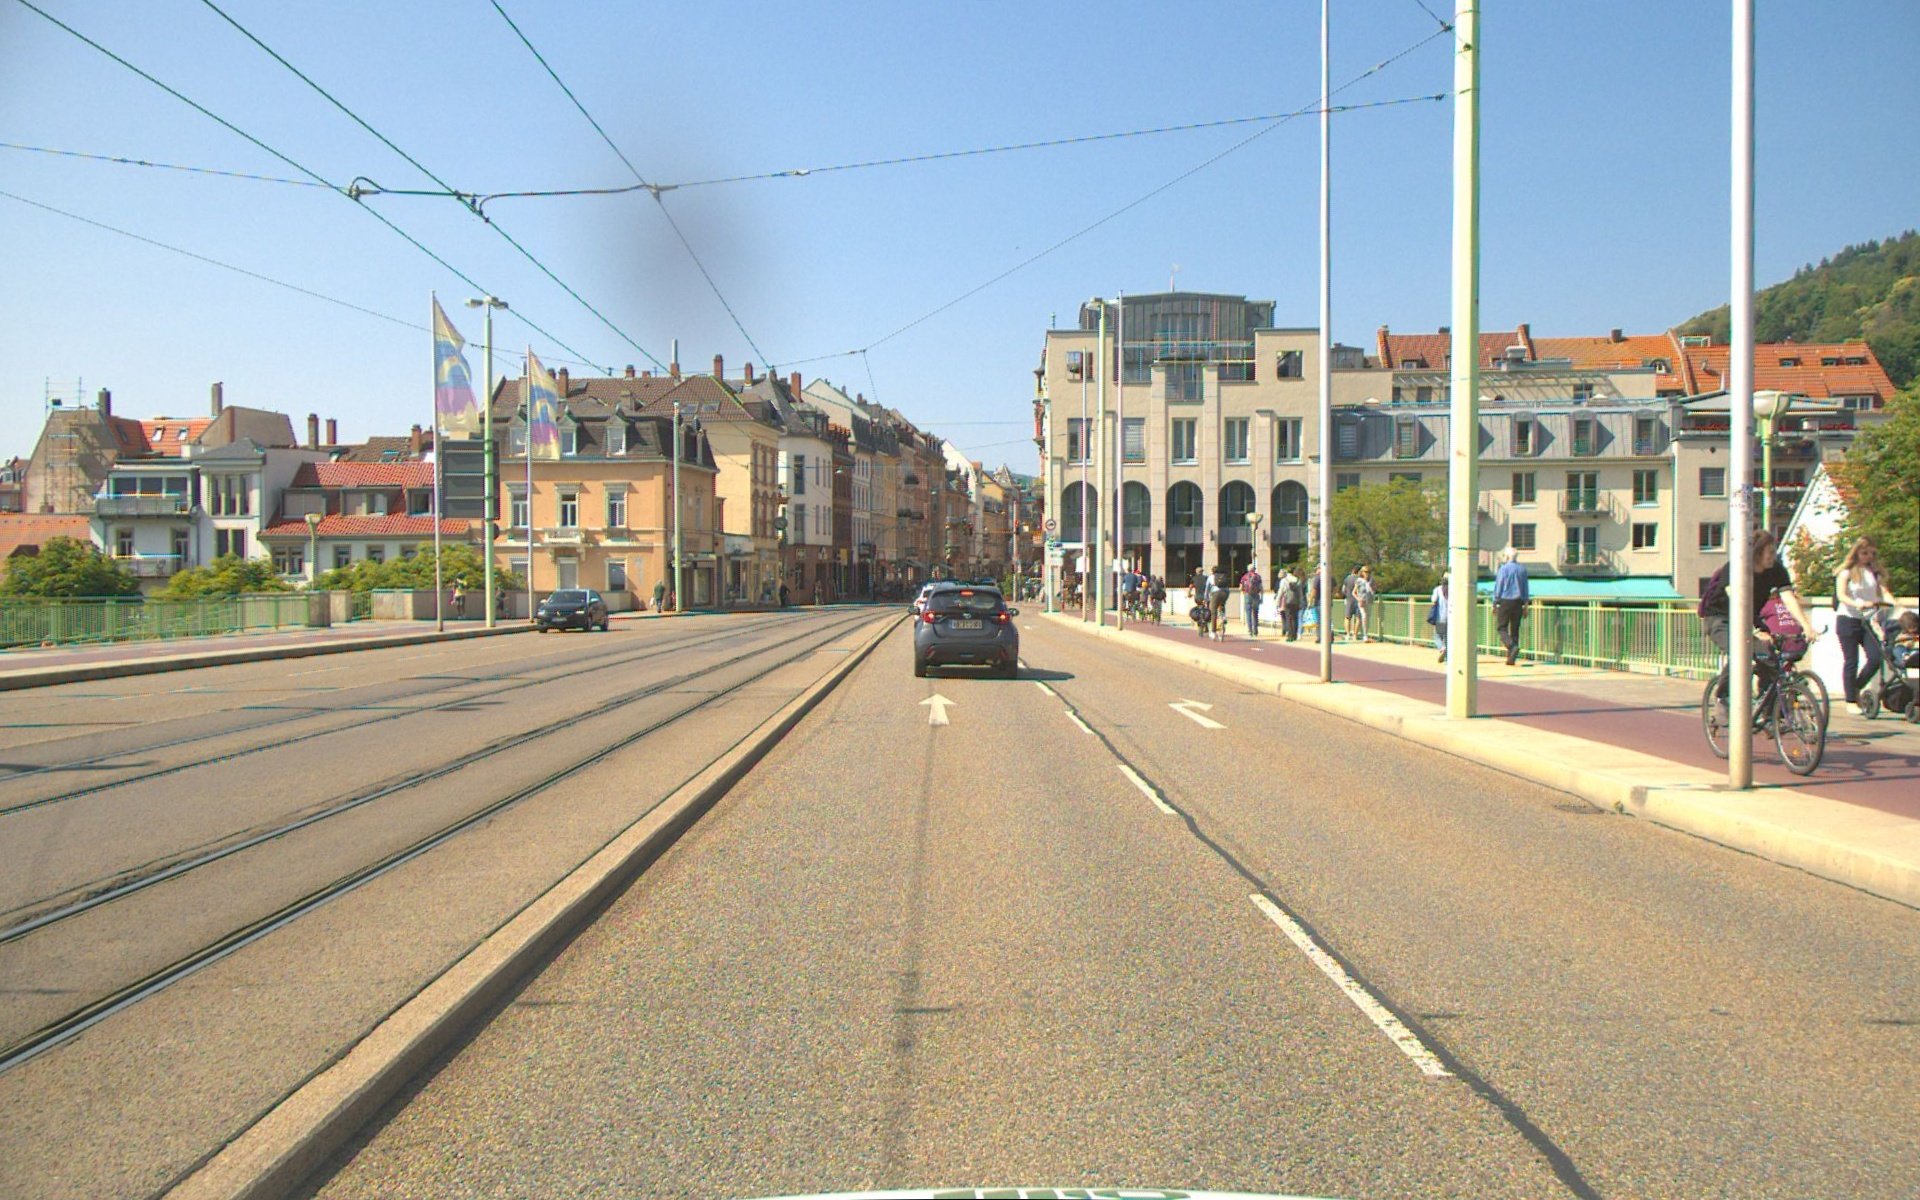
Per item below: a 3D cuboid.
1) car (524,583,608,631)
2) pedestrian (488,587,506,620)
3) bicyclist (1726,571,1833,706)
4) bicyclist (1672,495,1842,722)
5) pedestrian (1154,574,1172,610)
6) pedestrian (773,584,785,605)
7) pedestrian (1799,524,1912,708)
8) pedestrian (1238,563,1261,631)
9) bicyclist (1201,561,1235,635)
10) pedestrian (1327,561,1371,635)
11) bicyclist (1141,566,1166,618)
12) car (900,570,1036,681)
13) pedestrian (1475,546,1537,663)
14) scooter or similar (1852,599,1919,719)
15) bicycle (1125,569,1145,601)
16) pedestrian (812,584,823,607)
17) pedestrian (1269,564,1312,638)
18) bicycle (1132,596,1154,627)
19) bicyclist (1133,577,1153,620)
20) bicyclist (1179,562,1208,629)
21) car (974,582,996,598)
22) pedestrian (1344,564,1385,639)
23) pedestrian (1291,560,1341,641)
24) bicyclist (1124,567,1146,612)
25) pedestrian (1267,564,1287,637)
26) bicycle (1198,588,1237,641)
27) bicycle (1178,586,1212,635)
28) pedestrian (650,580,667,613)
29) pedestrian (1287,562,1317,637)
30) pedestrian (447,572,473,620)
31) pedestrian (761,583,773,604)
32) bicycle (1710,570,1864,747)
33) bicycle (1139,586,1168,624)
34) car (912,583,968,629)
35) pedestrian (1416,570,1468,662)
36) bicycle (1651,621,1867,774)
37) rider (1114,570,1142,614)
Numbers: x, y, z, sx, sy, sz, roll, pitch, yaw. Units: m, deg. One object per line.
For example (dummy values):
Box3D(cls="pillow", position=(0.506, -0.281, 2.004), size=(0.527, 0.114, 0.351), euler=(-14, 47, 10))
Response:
Box3D(cls="car", position=(-13.243, 0.207, 55.765), size=(1.953, 1.505, 3.999), euler=(0, 1, -1))
Box3D(cls="pedestrian", position=(-18.901, 0.152, 67.502), size=(0.561, 1.327, 0.543), euler=(0, 1, 1))
Box3D(cls="bicyclist", position=(7.002, 0.311, 14.157), size=(0.586, 1.120, 0.853), euler=(0, 1, 9))
Box3D(cls="bicyclist", position=(5.960, 0.058, 12.442), size=(0.639, 1.594, 1.338), euler=(-2, 0, 2))
Box3D(cls="pedestrian", position=(8.459, -0.350, 68.984), size=(0.643, 1.476, 0.644), euler=(0, 1, -6))
Box3D(cls="pedestrian", position=(-12.180, -0.354, 111.449), size=(0.747, 1.422, 0.663), euler=(0, 1, 1))
Box3D(cls="pedestrian", position=(8.941, 0.149, 16.543), size=(0.629, 1.787, 0.866), euler=(0, 1, -3))
Box3D(cls="pedestrian", position=(7.369, -0.067, 42.113), size=(0.417, 1.700, 0.620), euler=(3, 0, -1))
Box3D(cls="bicyclist", position=(6.097, -0.054, 39.048), size=(0.643, 1.705, 0.868), euler=(0, 1, -2))
Box3D(cls="pedestrian", position=(9.143, -0.060, 38.868), size=(0.817, 1.719, 0.869), euler=(0, 1, -1))
Box3D(cls="bicyclist", position=(6.381, -0.265, 54.629), size=(0.701, 1.705, 0.868), euler=(0, 1, -2))
Box3D(cls="car", position=(0.056, 0.374, 28.392), size=(1.873, 1.566, 3.997), euler=(5, 2, -5))
Box3D(cls="pedestrian", position=(8.740, 0.062, 26.493), size=(0.698, 1.842, 0.848), euler=(0, 1, -1))
Box3D(cls="scooter or similar", position=(8.993, 0.544, 15.680), size=(0.576, 1.088, 0.865), euler=(0, 1, -3))
Box3D(cls="bicycle", position=(6.713, -0.574, 63.557), size=(0.652, 1.198, 2.030), euler=(0, 1, 2))
Box3D(cls="pedestrian", position=(-10.751, -0.364, 124.837), size=(0.747, 1.728, 0.663), euler=(0, 1, 1))
Box3D(cls="pedestrian", position=(7.747, 0.016, 38.827), size=(0.817, 1.719, 0.869), euler=(0, 1, -1))
Box3D(cls="bicycle", position=(6.701, 0.405, 60.706), size=(0.652, 1.067, 2.030), euler=(0, 1, 2))
Box3D(cls="bicyclist", position=(6.705, -0.048, 60.658), size=(0.638, 1.556, 0.975), euler=(0, 1, 2))
Box3D(cls="bicyclist", position=(6.042, -0.129, 42.833), size=(0.615, 1.719, 0.868), euler=(0, 1, -2))
Box3D(cls="car", position=(2.367, -0.953, 155.058), size=(1.838, 1.433, 4.003), euler=(0, 1, 4))
Box3D(cls="pedestrian", position=(9.121, 0.025, 37.323), size=(0.698, 1.680, 0.848), euler=(0, 1, -1))
Box3D(cls="pedestrian", position=(7.935, 0.006, 36.939), size=(0.911, 1.792, 0.937), euler=(0, 1, -1))
Box3D(cls="bicyclist", position=(6.716, -0.401, 63.558), size=(0.779, 1.705, 0.869), euler=(0, 1, 2))
Box3D(cls="pedestrian", position=(8.099, 0.012, 42.267), size=(0.360, 1.826, 0.604), euler=(1, 0, -1))
Box3D(cls="bicycle", position=(6.097, 0.323, 39.233), size=(0.581, 1.198, 1.939), euler=(0, 1, -2))
Box3D(cls="bicycle", position=(6.044, 0.249, 42.587), size=(0.515, 1.198, 2.028), euler=(0, 1, -2))
Box3D(cls="pedestrian", position=(-15.646, -0.175, 85.828), size=(0.747, 1.694, 0.663), euler=(0, 1, 1))
Box3D(cls="pedestrian", position=(8.307, -0.017, 40.212), size=(0.517, 1.778, 0.728), euler=(1, 0, -1))
Box3D(cls="pedestrian", position=(-18.891, -0.163, 62.534), size=(0.747, 1.818, 0.663), euler=(0, 1, 1))
Box3D(cls="pedestrian", position=(-12.928, -0.422, 110.730), size=(0.747, 1.422, 0.663), euler=(0, 1, 1))
Box3D(cls="bicycle", position=(7.006, 0.438, 14.119), size=(0.523, 1.390, 2.218), euler=(0, 1, 9))
Box3D(cls="bicycle", position=(6.379, 0.143, 54.707), size=(0.653, 1.198, 2.028), euler=(0, 1, -2))
Box3D(cls="car", position=(-0.730, 0.177, 58.054), size=(1.768, 1.494, 3.998), euler=(-2, 1, -3))
Box3D(cls="pedestrian", position=(7.981, 0.258, 27.397), size=(0.601, 1.491, 0.848), euler=(0, 1, -1))
Box3D(cls="bicycle", position=(5.983, 0.688, 12.533), size=(0.639, 0.998, 2.179), euler=(-2, 0, 2))
Box3D(cls="rider", position=(5.923, -0.300, 58.225), size=(0.871, 1.531, 0.841), euler=(0, 1, -2))
